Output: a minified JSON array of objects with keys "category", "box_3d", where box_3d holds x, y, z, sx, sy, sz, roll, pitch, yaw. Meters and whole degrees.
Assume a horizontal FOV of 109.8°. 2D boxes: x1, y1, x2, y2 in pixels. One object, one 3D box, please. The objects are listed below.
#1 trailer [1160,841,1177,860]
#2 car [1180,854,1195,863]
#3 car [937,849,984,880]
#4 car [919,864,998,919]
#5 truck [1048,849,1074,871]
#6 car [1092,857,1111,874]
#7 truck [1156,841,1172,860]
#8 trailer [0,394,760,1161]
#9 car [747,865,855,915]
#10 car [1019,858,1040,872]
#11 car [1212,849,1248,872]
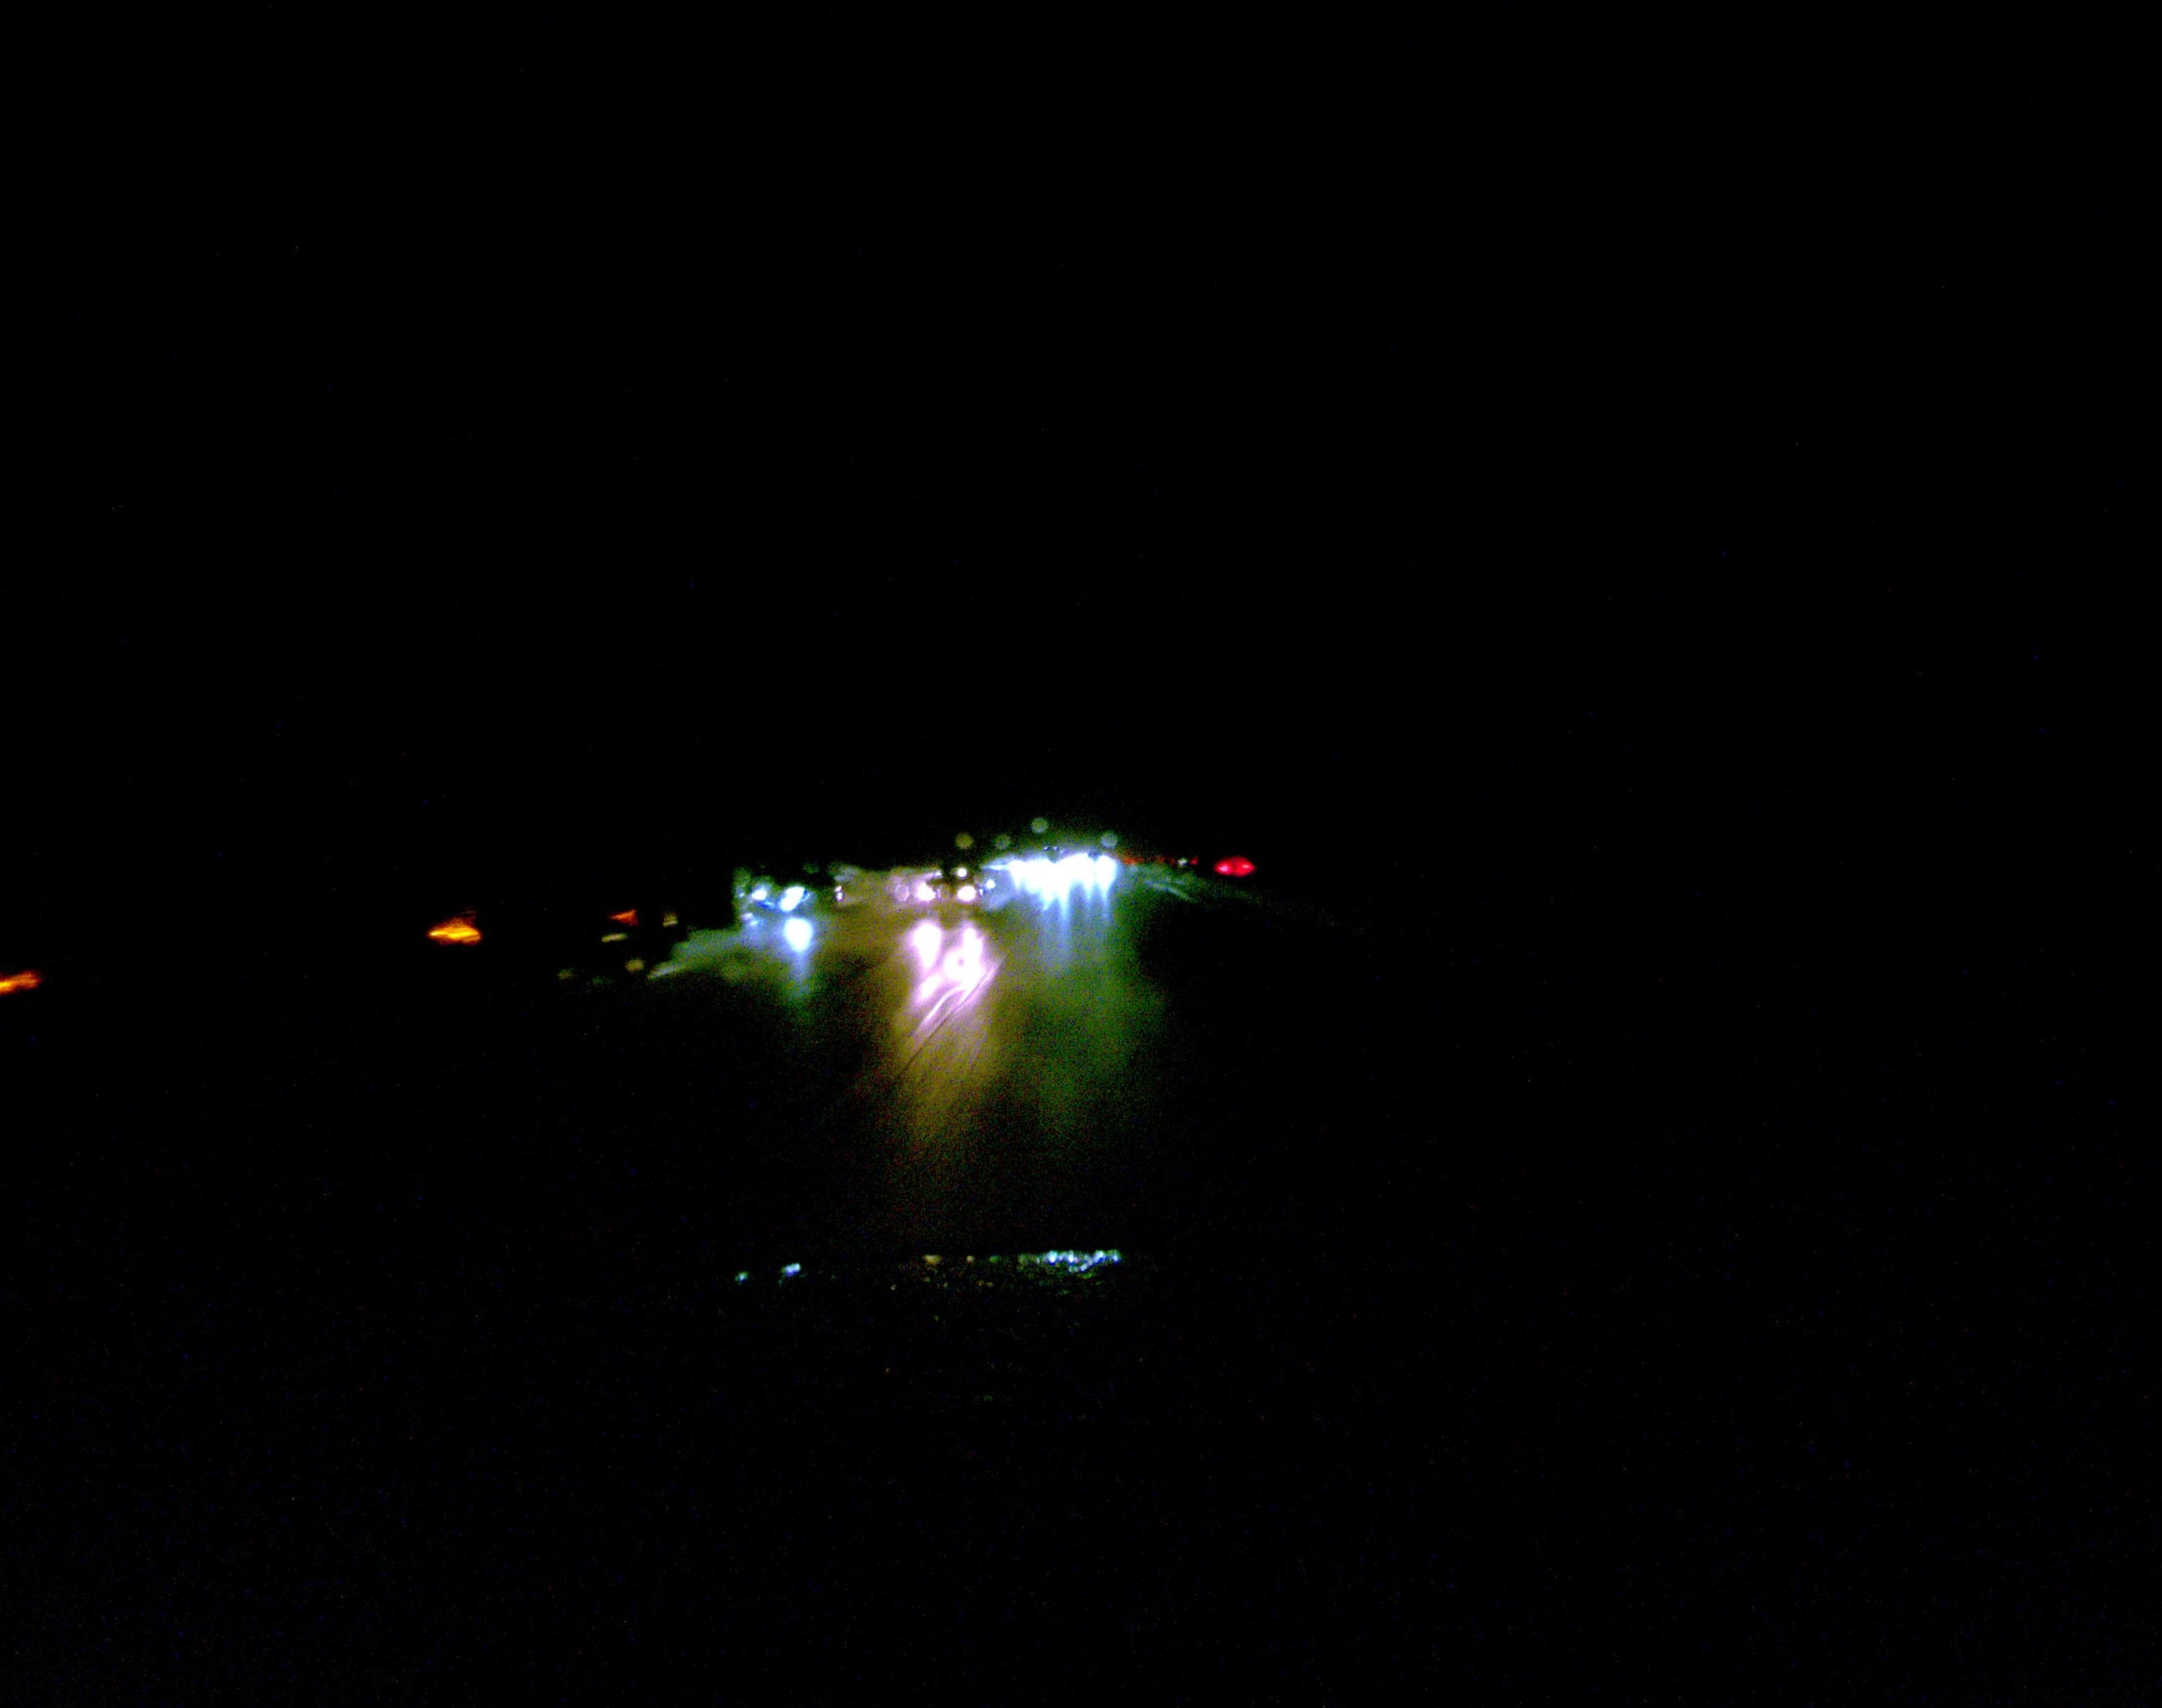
[{"category":"trailer","box_3d":[20.113,-0.744,175.763,2.947,4.252,8.936,1,1,1]},{"category":"car","box_3d":[18.500,0.741,131.840,1.998,1.492,4.965,-2,1,1]},{"category":"car","box_3d":[-8.088,0.668,51.424,2.051,1.962,5.408,0,0,3]},{"category":"car","box_3d":[-3.572,1.051,22.774,1.616,1.404,3.792,-2,0,1]},{"category":"truck","box_3d":[-1.653,0.433,62.898,1.848,1.686,4.854,-2,1,1]},{"category":"car","box_3d":[1.948,1.054,71.786,1.619,1.452,3.768,-2,1,2]},{"category":"truck","box_3d":[20.238,-0.860,185.984,2.938,4.302,11.435,1,1,1]},{"category":"trailer","box_3d":[-7.253,-0.406,7.447,2.810,4.187,12.096,-2,0,1]},{"category":"car","box_3d":[-9.617,1.178,26.563,1.899,1.477,4.962,-2,0,0]},{"category":"car","box_3d":[-5.695,1.189,84.618,1.747,1.470,5.366,-3,0,1]},{"category":"car","box_3d":[10.571,0.431,54.191,1.714,1.554,4.295,-1,1,1]}]
